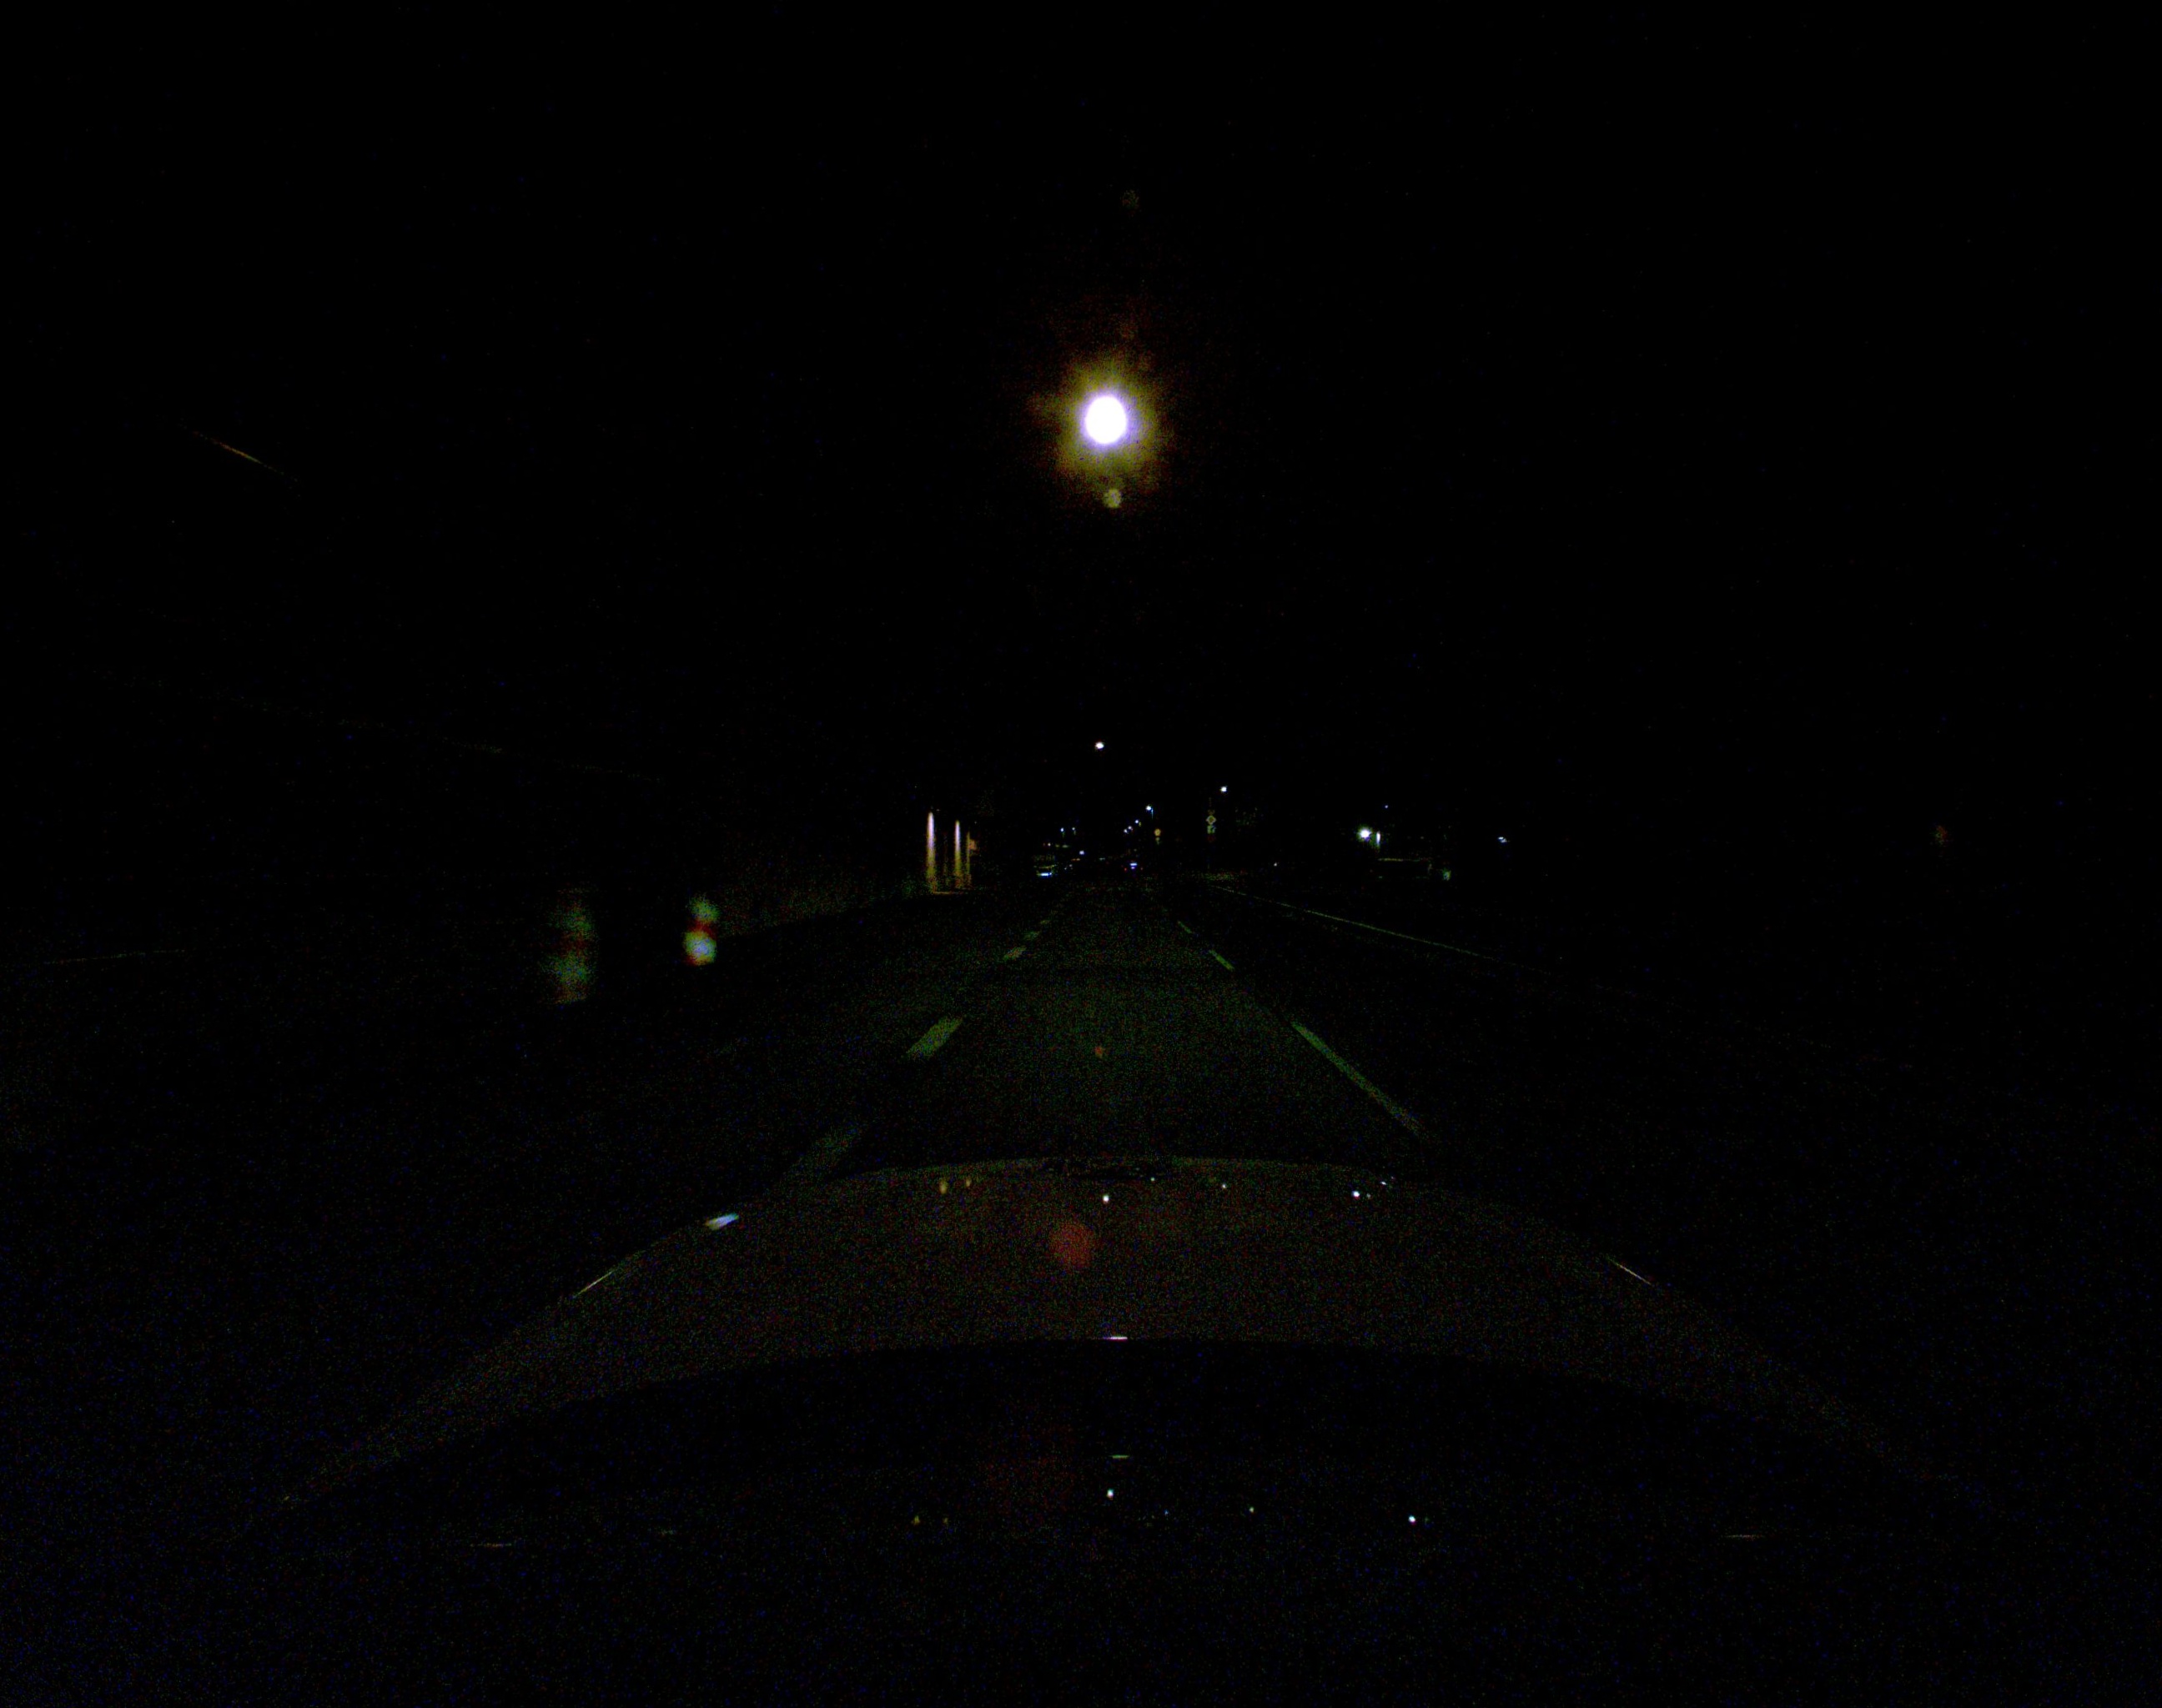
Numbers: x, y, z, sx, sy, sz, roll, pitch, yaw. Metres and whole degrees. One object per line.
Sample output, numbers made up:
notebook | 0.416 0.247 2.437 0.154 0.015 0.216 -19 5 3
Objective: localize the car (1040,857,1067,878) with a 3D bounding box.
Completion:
car | -2.243 1.108 66.861 1.885 1.591 4.375 -2 -1 1

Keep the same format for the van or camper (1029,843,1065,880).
van or camper | -2.506 0.574 61.344 2.150 2.535 6.227 -3 -1 1

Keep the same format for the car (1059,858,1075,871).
car | -1.620 1.266 94.778 1.699 1.510 4.100 0 -1 1

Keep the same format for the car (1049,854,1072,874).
car | -2.057 0.990 82.393 1.986 1.955 4.807 -1 -1 2

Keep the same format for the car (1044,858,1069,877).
car | -2.204 1.183 72.208 1.836 1.507 4.733 -2 -1 -5

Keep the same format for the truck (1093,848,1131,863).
truck | 5.627 0.270 149.186 6.758 2.844 1.999 0 0 -2

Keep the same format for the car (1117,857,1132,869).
car | 5.601 1.200 105.507 1.752 1.445 4.026 -2 0 1

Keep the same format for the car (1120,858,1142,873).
car | 4.684 1.107 76.992 1.956 1.383 4.001 -1 -1 2

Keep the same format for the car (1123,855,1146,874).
car | 4.716 0.934 71.643 1.876 1.603 4.111 -2 -1 3
